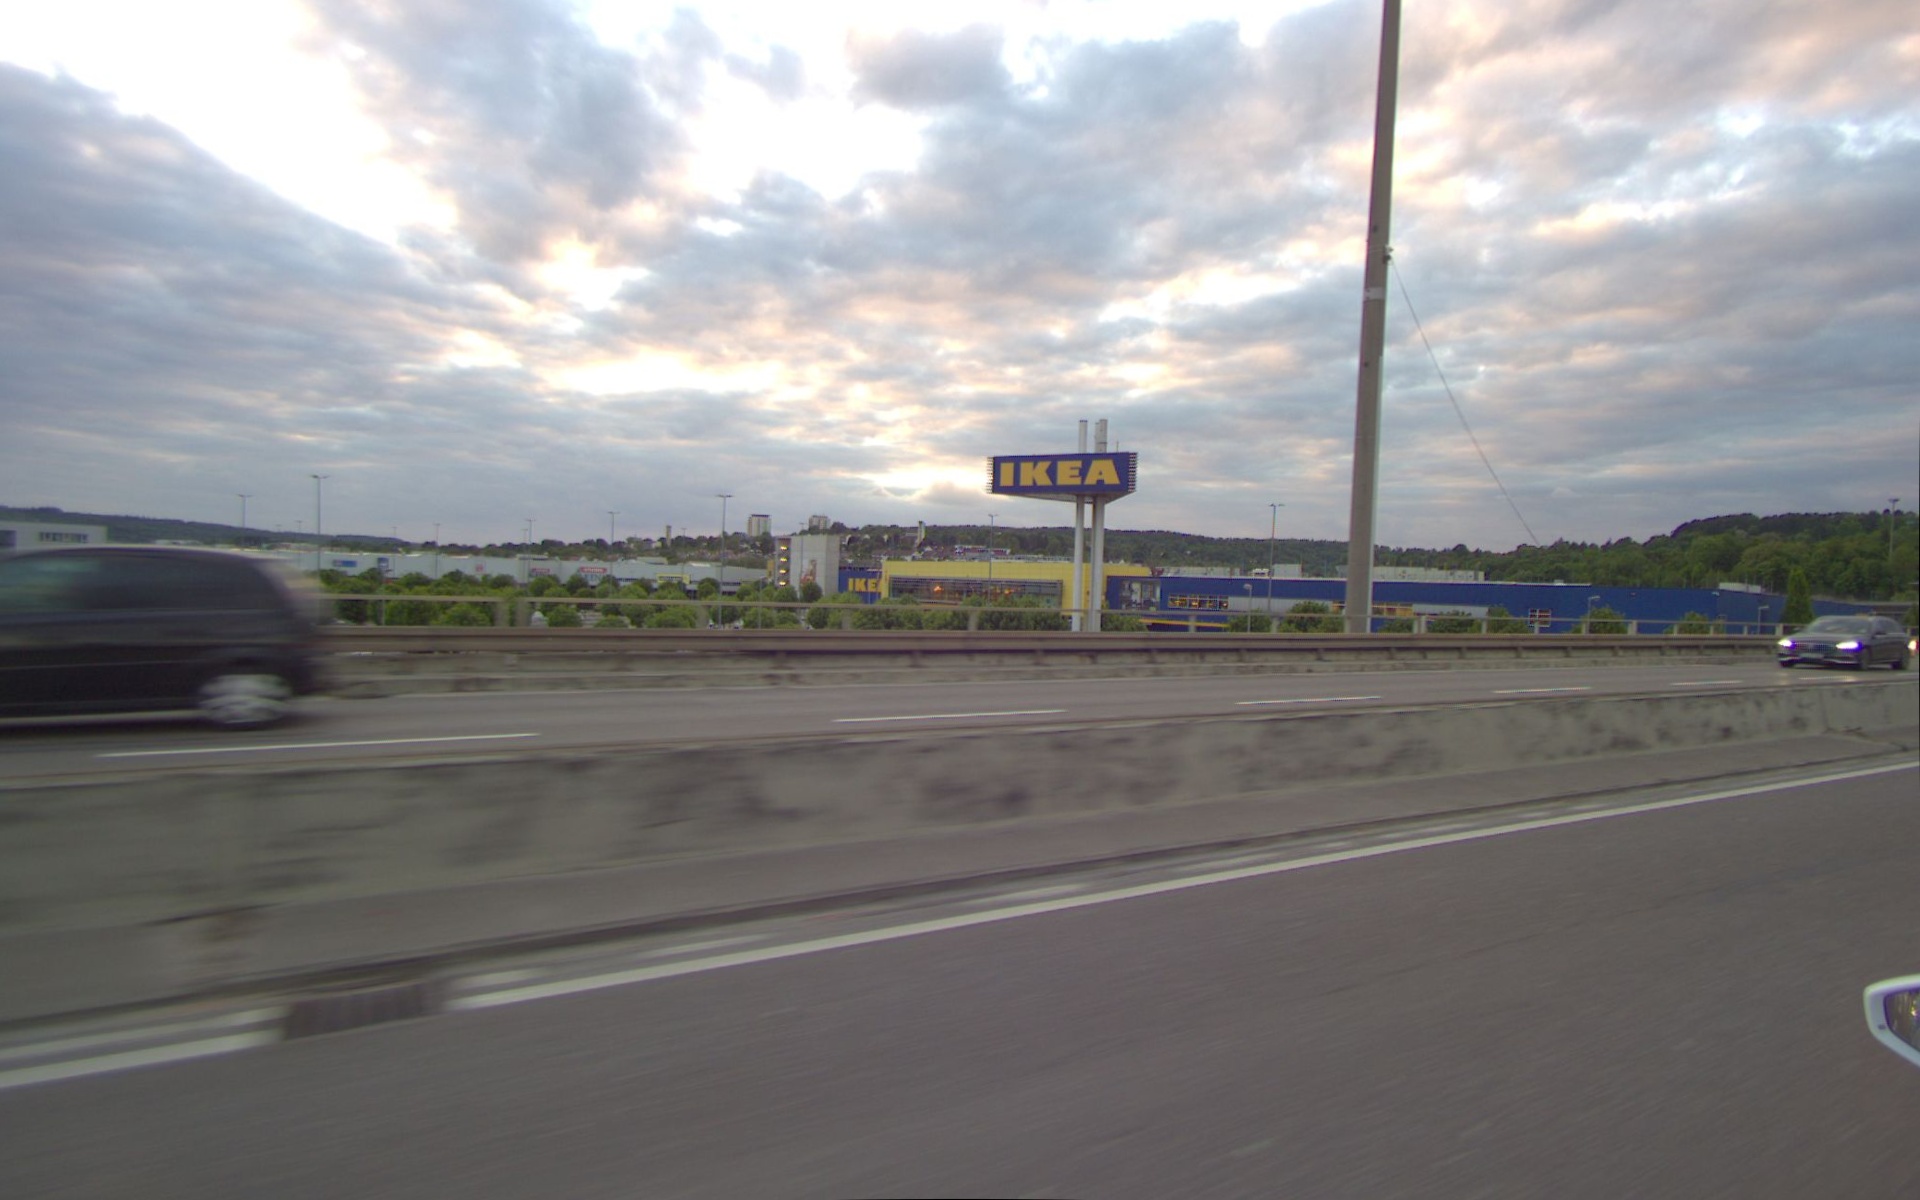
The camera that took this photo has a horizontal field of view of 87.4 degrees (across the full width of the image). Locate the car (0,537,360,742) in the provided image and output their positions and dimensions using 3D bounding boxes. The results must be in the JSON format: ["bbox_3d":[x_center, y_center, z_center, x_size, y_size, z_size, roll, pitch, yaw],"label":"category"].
[{"bbox_3d":[-7.650,0.312,8.832,3.995,1.615,1.649,2,0,-30],"label":"car"}]

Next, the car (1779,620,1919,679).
[{"bbox_3d":[25.168,1.329,28.292,4.847,1.494,1.818,1,0,-32],"label":"car"}]
